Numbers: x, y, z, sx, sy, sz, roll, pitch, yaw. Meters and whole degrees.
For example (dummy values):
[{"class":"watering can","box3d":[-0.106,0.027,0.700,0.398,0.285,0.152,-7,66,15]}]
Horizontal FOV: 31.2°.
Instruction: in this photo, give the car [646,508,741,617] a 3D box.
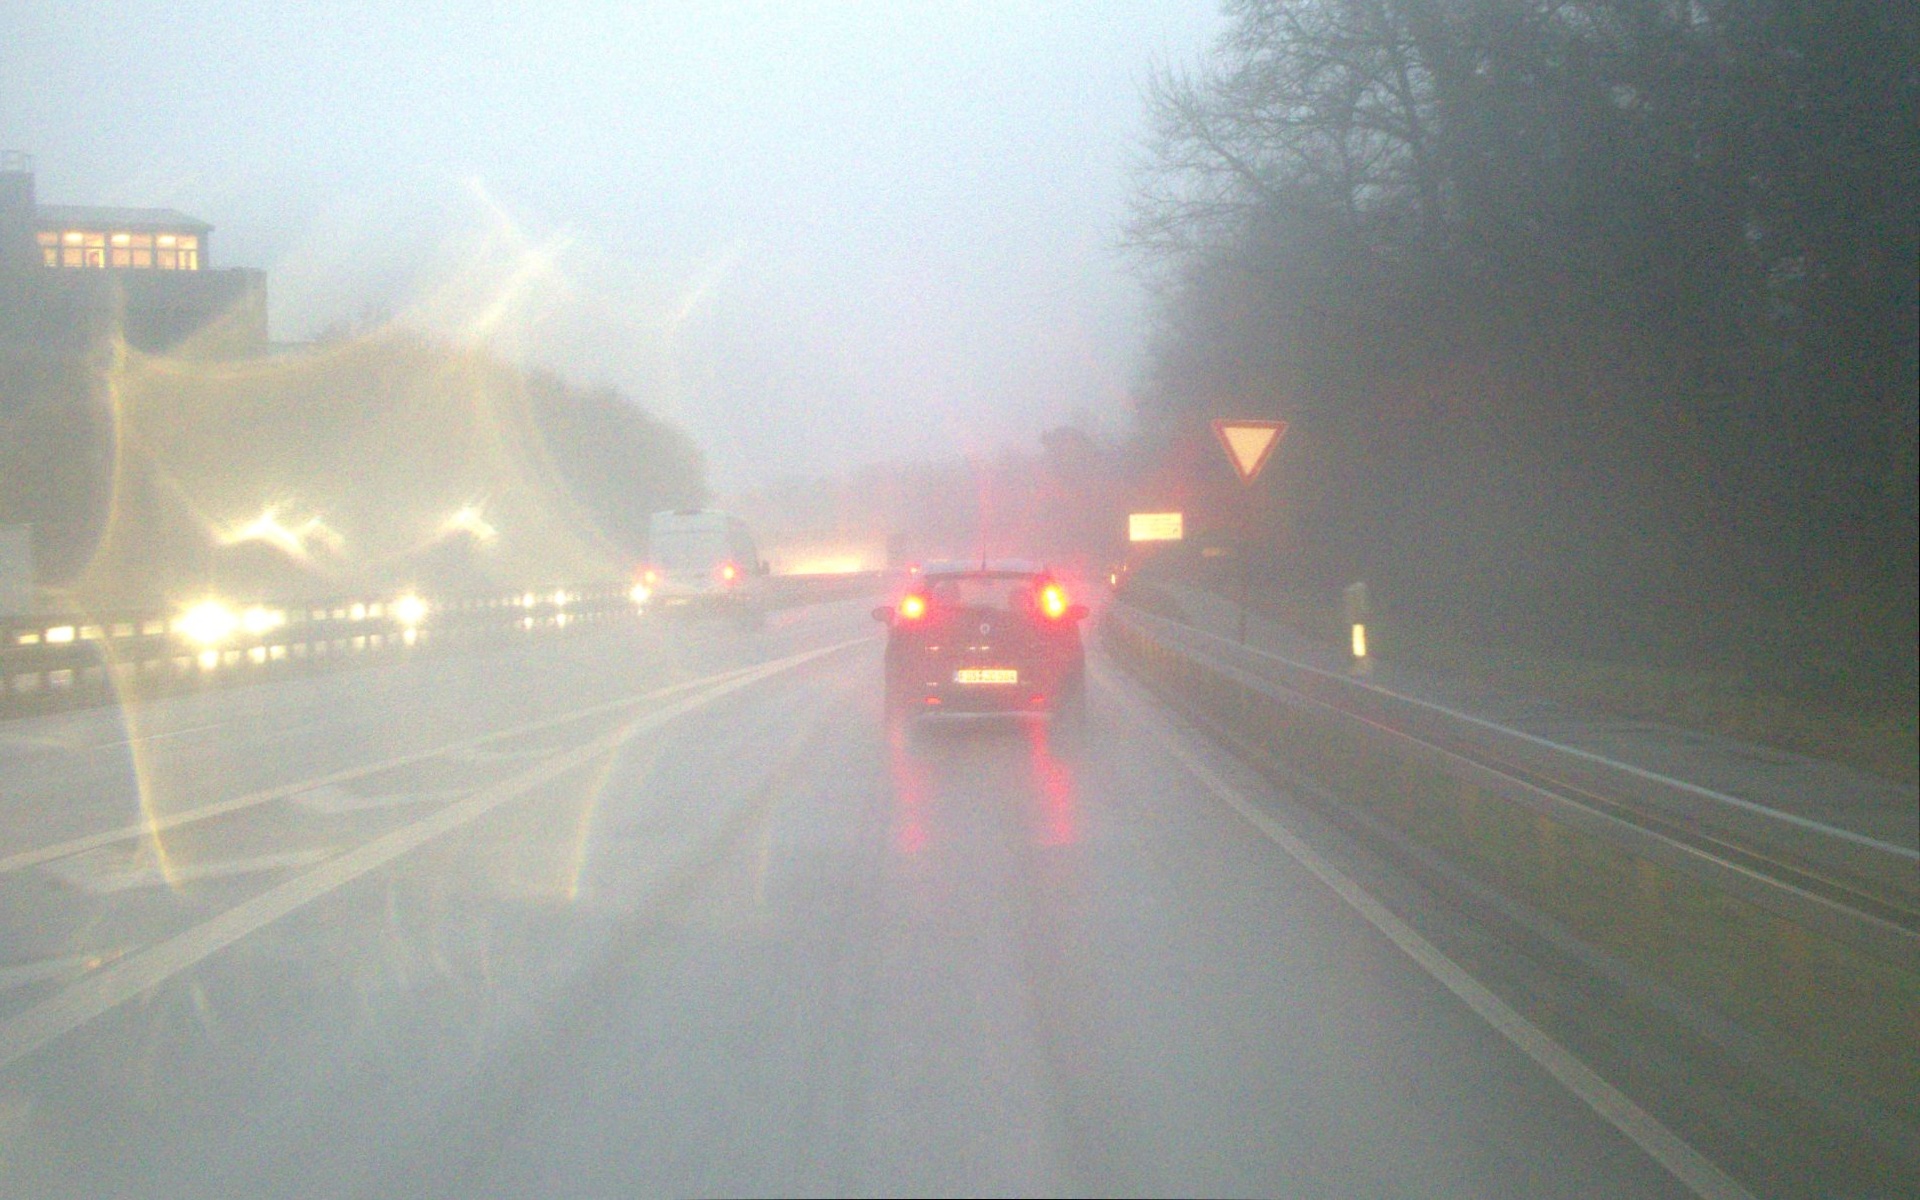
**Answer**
[{"class":"car","box3d":[-6.167,-0.873,79.787,2.000,2.445,4.000,1,1,-2]}]

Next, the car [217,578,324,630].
[{"class":"car","box3d":[-18.369,0.093,91.763,1.710,1.317,4.472,1,1,3]}]

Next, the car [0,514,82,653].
[{"class":"car","box3d":[-19.949,-0.365,69.311,2.527,2.721,6.339,1,1,3]}]

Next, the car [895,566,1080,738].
[{"class":"car","box3d":[0.235,0.412,30.277,1.527,1.411,3.479,0,1,0]}]
